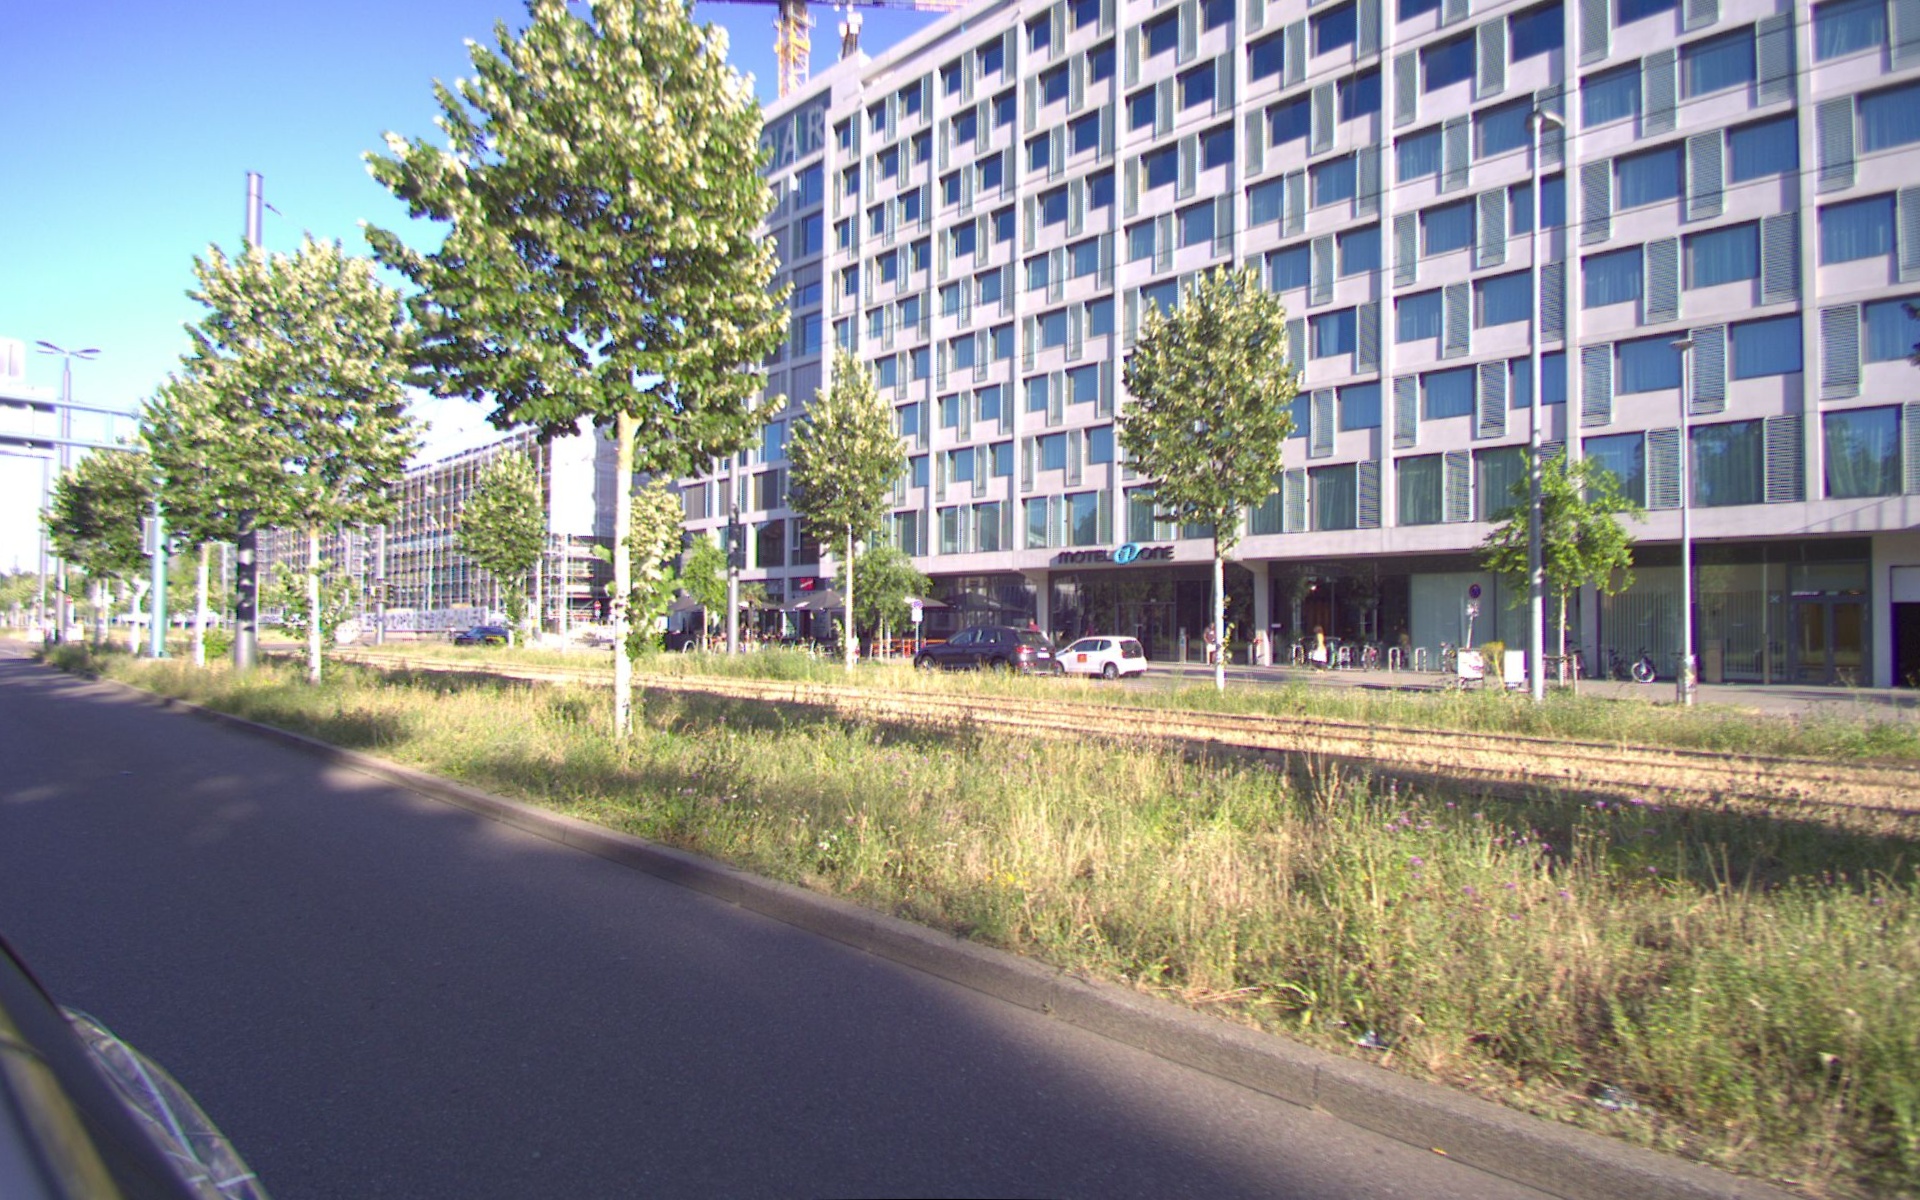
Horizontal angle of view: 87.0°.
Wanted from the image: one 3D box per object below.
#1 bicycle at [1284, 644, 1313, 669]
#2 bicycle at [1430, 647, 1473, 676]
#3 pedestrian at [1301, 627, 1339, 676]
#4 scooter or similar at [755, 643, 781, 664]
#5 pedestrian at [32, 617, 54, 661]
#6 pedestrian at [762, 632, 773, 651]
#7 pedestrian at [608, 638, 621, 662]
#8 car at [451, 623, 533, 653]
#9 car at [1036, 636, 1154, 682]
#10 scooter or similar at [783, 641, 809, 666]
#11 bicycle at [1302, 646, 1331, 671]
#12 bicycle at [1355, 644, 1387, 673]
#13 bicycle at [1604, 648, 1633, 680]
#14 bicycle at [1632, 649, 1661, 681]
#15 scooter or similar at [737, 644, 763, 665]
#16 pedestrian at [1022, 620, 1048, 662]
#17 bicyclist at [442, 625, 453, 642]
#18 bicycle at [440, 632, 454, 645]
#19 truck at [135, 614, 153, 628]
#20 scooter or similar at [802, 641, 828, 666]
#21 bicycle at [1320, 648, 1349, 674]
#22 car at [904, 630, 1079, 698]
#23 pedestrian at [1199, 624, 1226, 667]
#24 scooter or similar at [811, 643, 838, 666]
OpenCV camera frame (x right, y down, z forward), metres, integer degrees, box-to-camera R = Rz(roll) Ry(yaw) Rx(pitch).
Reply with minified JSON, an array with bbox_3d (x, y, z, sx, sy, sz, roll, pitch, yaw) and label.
[{"bbox_3d":[12.917,2.142,38.578,0.511,0.912,1.787,-1,-2,37],"label":"bicycle"},{"bbox_3d":[16.602,2.070,34.185,1.780,0.912,0.513,2,-2,-36],"label":"bicycle"},{"bbox_3d":[12.475,1.778,35.058,0.833,1.666,0.970,2,-3,-44],"label":"pedestrian"},{"bbox_3d":[-9.491,2.621,50.069,0.435,1.027,1.229,-2,-3,44],"label":"scooter or similar"},{"bbox_3d":[-35.677,1.514,39.377,0.591,1.712,0.715,2,-3,-41],"label":"pedestrian"},{"bbox_3d":[-12.104,2.613,63.619,0.497,1.231,0.427,-2,-3,44],"label":"pedestrian"},{"bbox_3d":[-22.045,3.209,64.622,0.577,1.510,0.580,-1,-2,42],"label":"pedestrian"},{"bbox_3d":[-22.413,1.781,48.370,4.851,1.354,1.870,-1,-2,43],"label":"car"},{"bbox_3d":[4.774,2.060,36.133,1.864,1.503,3.875,1,-2,-44],"label":"car"},{"bbox_3d":[-7.939,2.588,48.991,0.406,1.181,1.229,-2,-3,44],"label":"scooter or similar"},{"bbox_3d":[13.322,2.176,37.822,0.511,0.912,1.787,-1,-2,37],"label":"bicycle"},{"bbox_3d":[14.907,2.107,36.705,0.483,0.974,1.732,-1,-1,43],"label":"bicycle"},{"bbox_3d":[20.244,1.949,31.114,0.511,0.912,1.785,-1,-2,41],"label":"bicycle"},{"bbox_3d":[20.693,1.951,30.502,0.511,0.912,1.785,-1,-2,41],"label":"bicycle"},{"bbox_3d":[-10.605,2.754,51.111,0.511,1.027,1.229,-2,-3,44],"label":"scooter or similar"},{"bbox_3d":[3.439,1.879,46.434,0.956,1.885,0.981,1,-2,-10],"label":"pedestrian"},{"bbox_3d":[-43.553,2.860,85.947,0.617,1.476,0.852,2,-2,-40],"label":"bicyclist"},{"bbox_3d":[-43.559,3.300,85.956,0.617,1.075,2.081,2,-2,-39],"label":"bicycle"},{"bbox_3d":[-155.446,4.076,192.809,2.113,2.593,4.743,2,-3,-44],"label":"truck"},{"bbox_3d":[-6.853,2.524,47.878,0.406,1.181,1.229,-2,-3,44],"label":"scooter or similar"},{"bbox_3d":[13.871,2.258,37.429,0.511,0.912,1.787,-1,-2,37],"label":"bicycle"},{"bbox_3d":[0.784,1.724,28.519,1.864,1.702,5.092,1,-2,-44],"label":"car"},{"bbox_3d":[10.124,1.810,40.607,0.968,1.683,1.055,0,-2,10],"label":"pedestrian"},{"bbox_3d":[-6.283,2.513,46.848,0.435,1.027,1.229,-2,-3,44],"label":"scooter or similar"}]
